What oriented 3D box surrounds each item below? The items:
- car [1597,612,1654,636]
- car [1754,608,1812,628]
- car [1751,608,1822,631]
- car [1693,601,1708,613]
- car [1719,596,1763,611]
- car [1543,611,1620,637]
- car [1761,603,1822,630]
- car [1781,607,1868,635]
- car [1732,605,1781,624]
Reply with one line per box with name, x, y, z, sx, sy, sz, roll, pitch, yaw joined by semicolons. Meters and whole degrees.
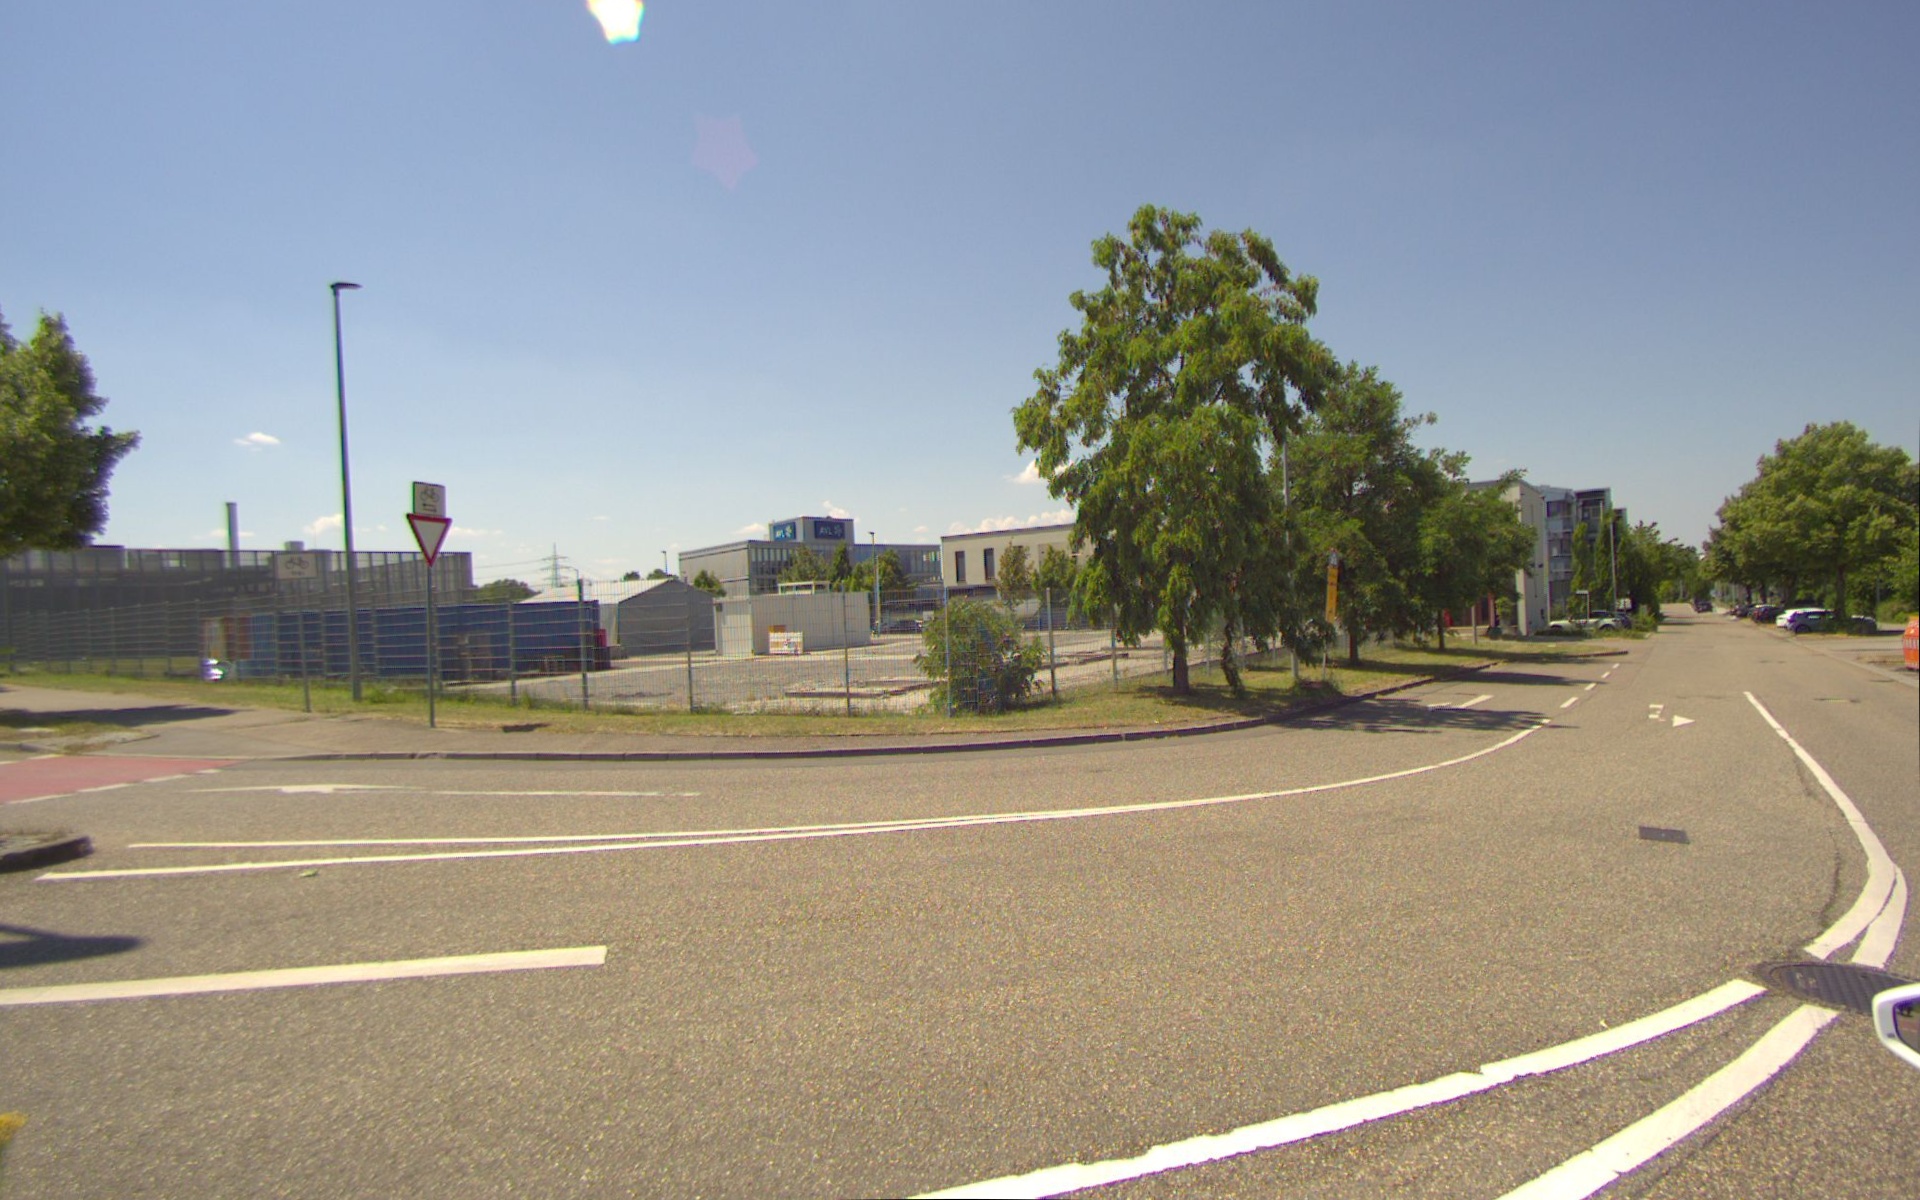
car;42.939;1.544;64.869;3.013;1.498;1.290;-1;-1;30
car;69.888;1.564;85.375;3.674;1.648;1.807;-1;-1;36
car;55.816;1.323;67.886;3.468;1.372;1.534;-5;-3;32
car;111.997;1.055;151.872;1.738;1.778;3.930;-1;-1;36
car;91.953;0.394;118.314;3.874;1.599;1.763;-2;2;29
car;38.514;1.500;62.290;3.991;1.514;1.724;-1;-1;34
car;68.015;1.325;82.252;3.674;2.138;1.807;-1;-1;36
car;51.148;1.248;59.528;3.629;1.372;1.641;-5;-3;32
car;85.449;1.520;107.809;3.874;1.860;1.763;-2;2;29
